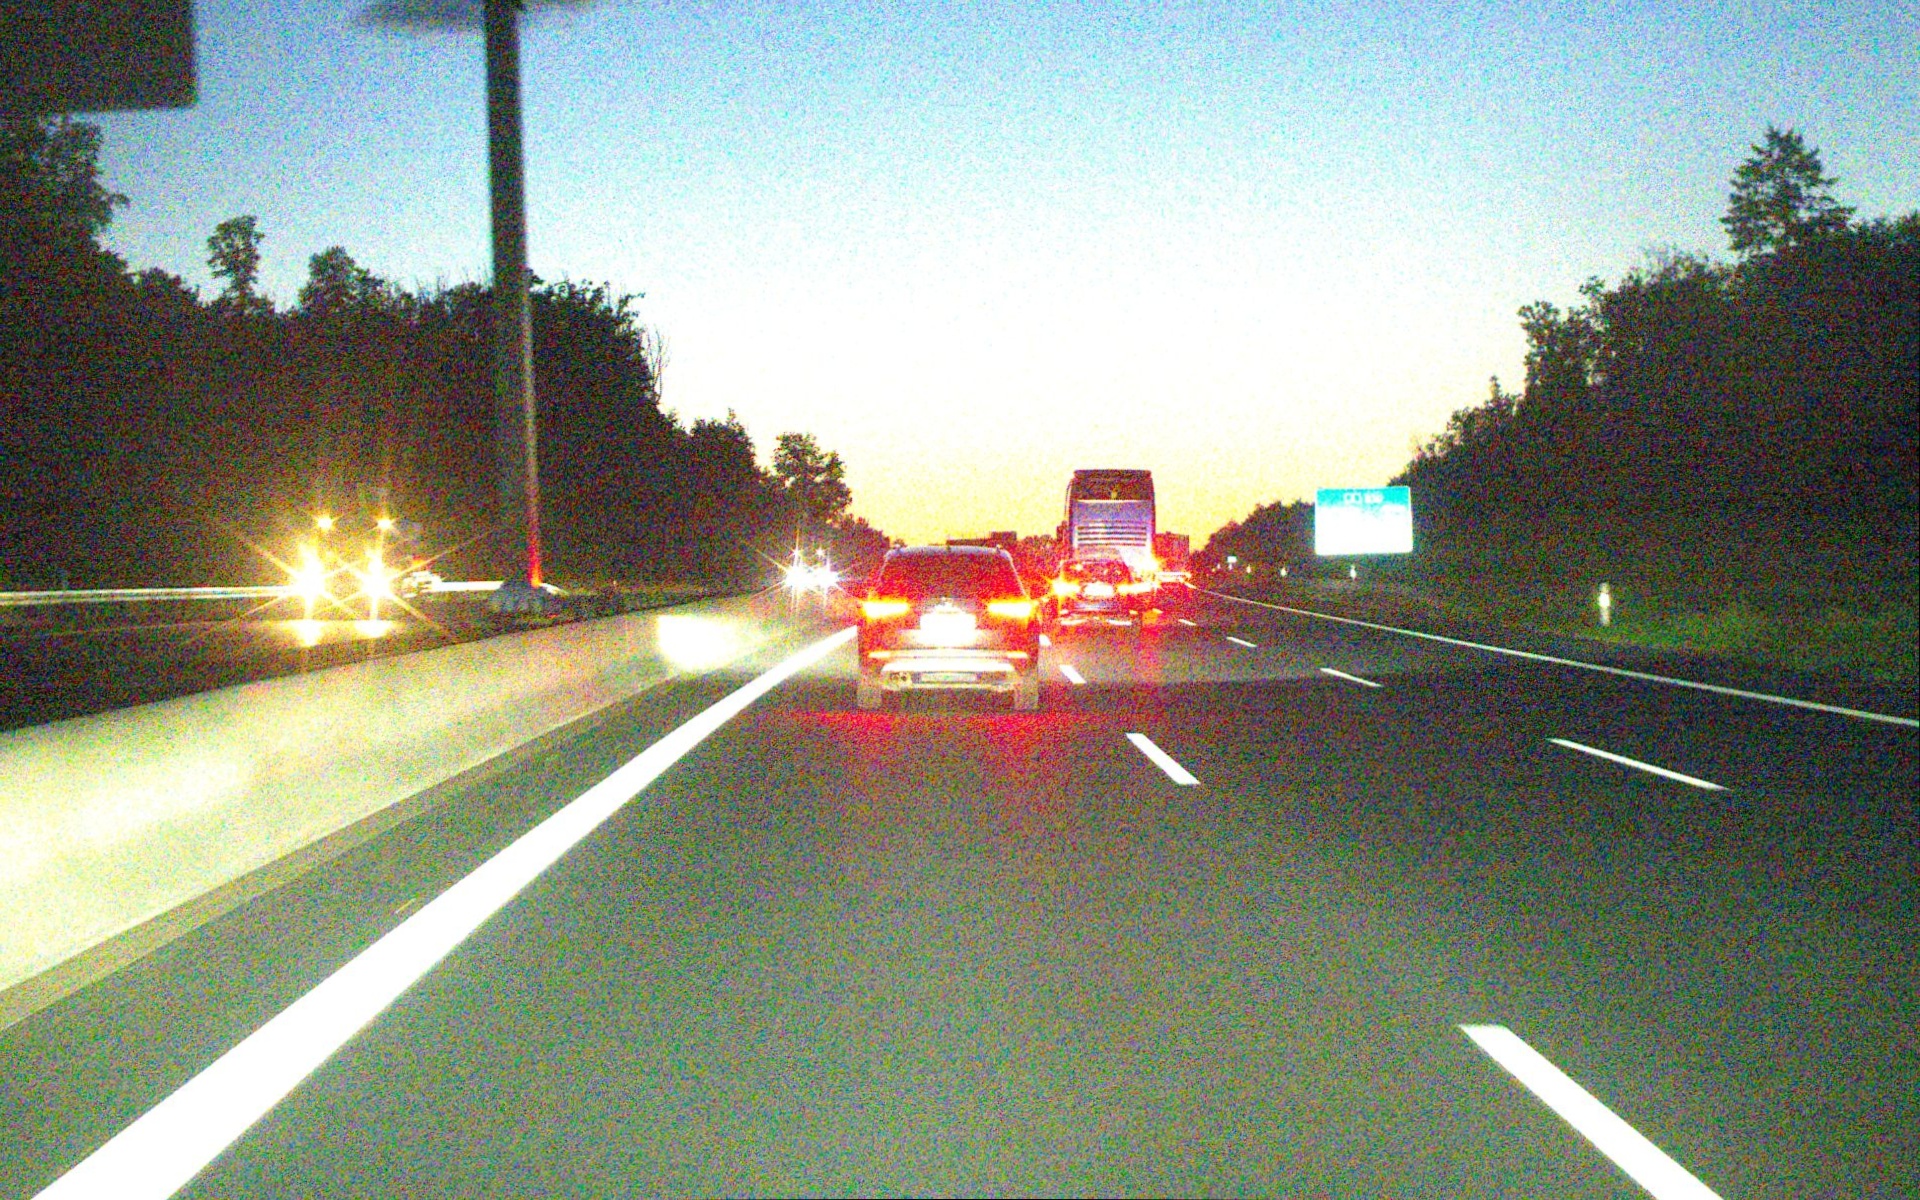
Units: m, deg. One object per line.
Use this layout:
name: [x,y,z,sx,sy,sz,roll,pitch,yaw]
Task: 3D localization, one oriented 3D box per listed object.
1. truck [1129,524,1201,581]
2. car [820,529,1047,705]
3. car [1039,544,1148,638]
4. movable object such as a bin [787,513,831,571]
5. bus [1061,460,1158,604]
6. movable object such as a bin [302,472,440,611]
truck: [11.297,-2.625,190.114,2.545,3.005,9.055,1,1,-6]
car: [-0.333,0.180,34.404,2.105,1.612,4.204,1,-1,-2]
car: [2.631,-0.156,68.631,1.911,1.724,4.000,3,-1,0]
movable object such as a bin: [-9.968,-3.837,227.549,2.293,3.756,7.686,0,1,2]
bus: [4.611,-1.943,106.245,2.652,3.980,14.700,-2,0,2]
movable object such as a bin: [-15.051,-1.489,88.326,2.207,3.405,7.437,0,1,0]
